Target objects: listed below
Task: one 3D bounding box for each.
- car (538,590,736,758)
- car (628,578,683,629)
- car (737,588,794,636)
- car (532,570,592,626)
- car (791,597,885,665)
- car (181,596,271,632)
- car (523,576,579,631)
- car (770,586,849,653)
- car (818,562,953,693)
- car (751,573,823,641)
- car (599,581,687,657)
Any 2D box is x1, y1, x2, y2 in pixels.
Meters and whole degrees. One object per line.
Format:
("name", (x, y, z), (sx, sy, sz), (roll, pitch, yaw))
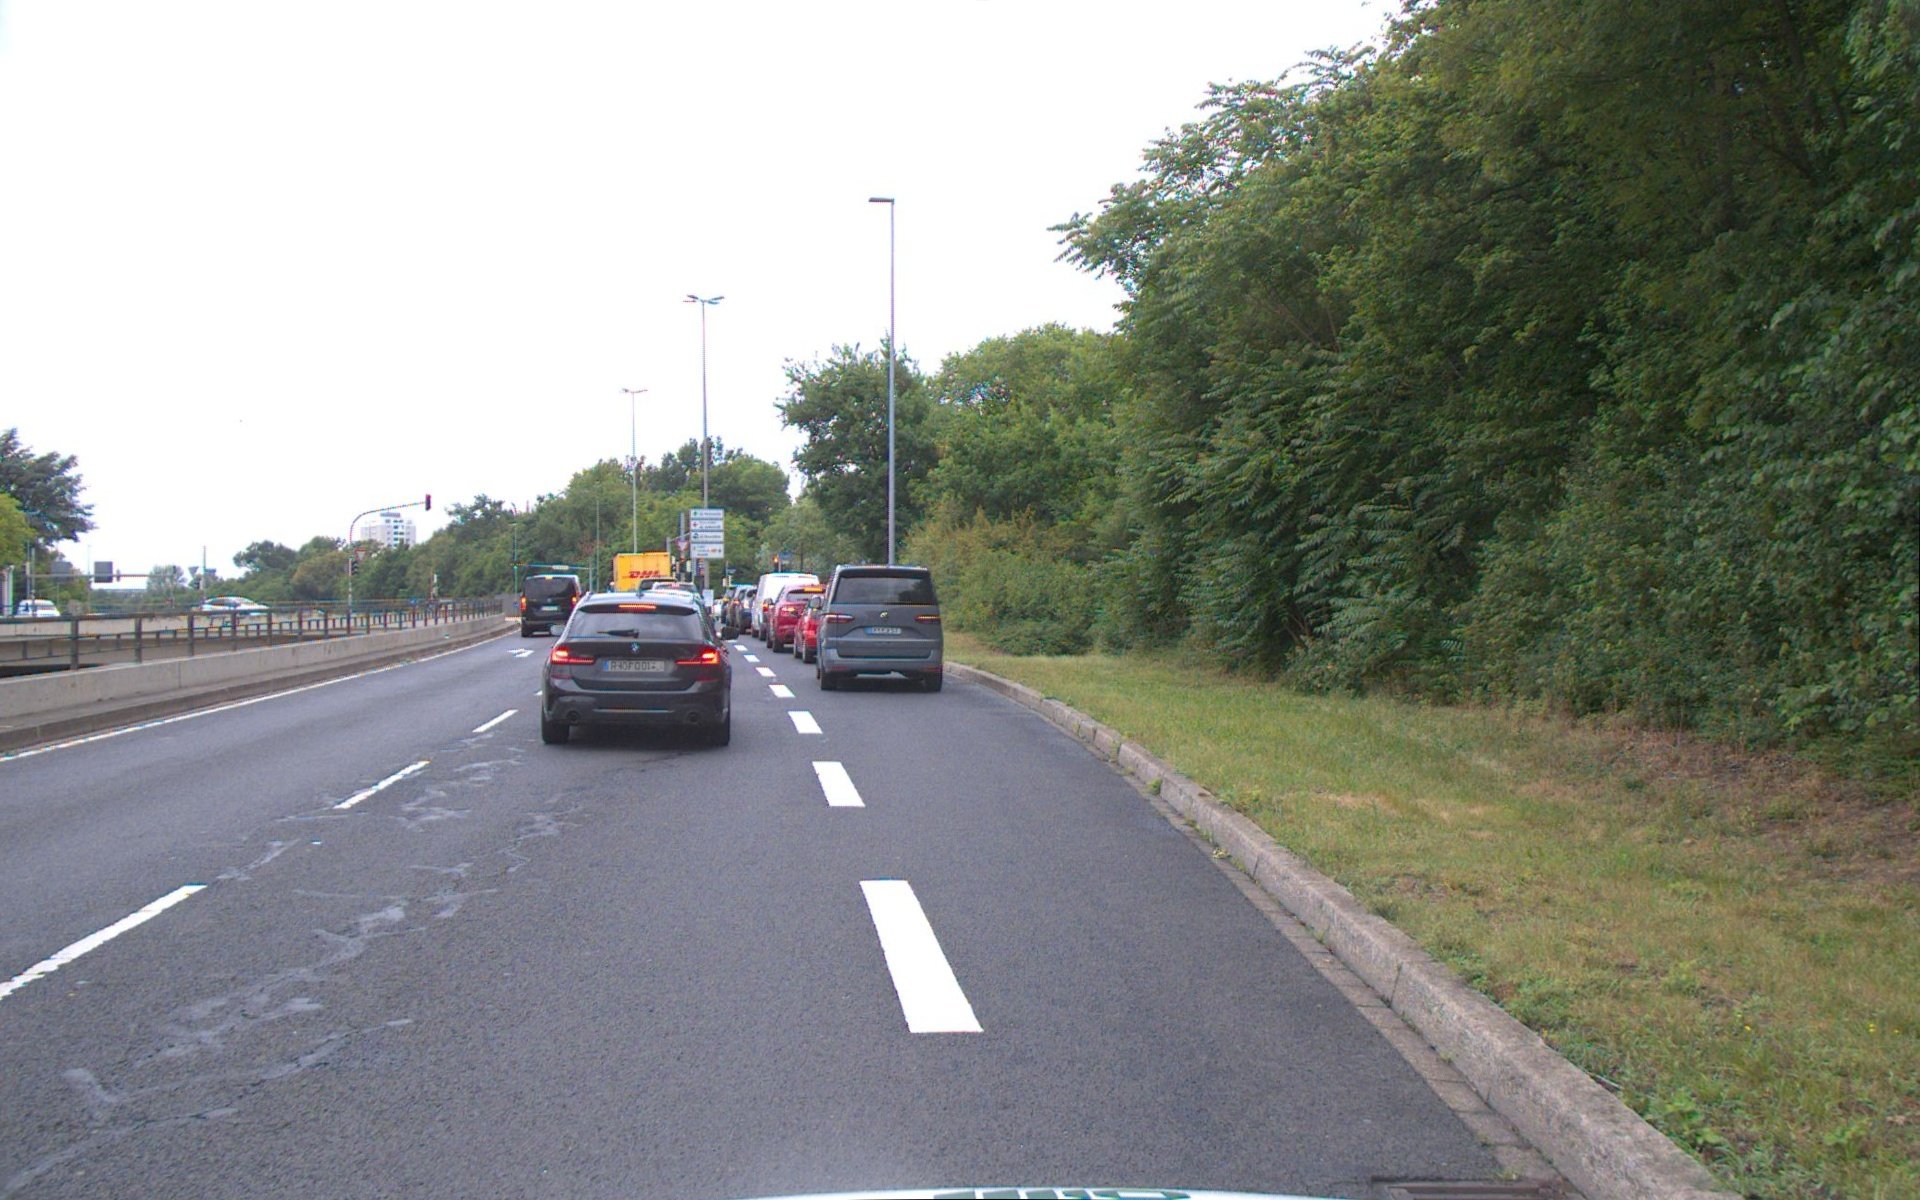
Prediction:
("car", (-3.198, 0.645, 17.091), (1.715, 1.451, 4.454), (0, 1, -7))
("car", (-10.920, 0.121, 59.586), (1.850, 1.730, 4.419), (1, 0, -10))
("car", (-6.595, 0.401, 56.116), (1.849, 1.572, 3.994), (1, 0, -7))
("car", (-14.950, -0.068, 62.280), (1.850, 2.022, 4.419), (1, 0, -10))
("car", (-2.710, 0.655, 36.052), (1.849, 1.379, 3.994), (1, 0, -7))
("car", (-43.247, 0.809, 97.460), (4.692, 2.049, 2.001), (0, 0, 16))
("car", (-13.402, 0.114, 54.357), (1.595, 1.731, 4.284), (1, 0, -11))
("car", (-3.803, 0.475, 41.274), (1.849, 1.572, 3.994), (1, 0, -7))
("car", (-1.292, 0.415, 26.691), (1.862, 1.917, 4.409), (1, 0, -7))
("car", (-5.223, 0.208, 49.619), (1.850, 1.912, 4.419), (1, 0, -10))
("car", (-7.242, 0.419, 38.069), (1.850, 1.620, 4.419), (1, 0, -10))
